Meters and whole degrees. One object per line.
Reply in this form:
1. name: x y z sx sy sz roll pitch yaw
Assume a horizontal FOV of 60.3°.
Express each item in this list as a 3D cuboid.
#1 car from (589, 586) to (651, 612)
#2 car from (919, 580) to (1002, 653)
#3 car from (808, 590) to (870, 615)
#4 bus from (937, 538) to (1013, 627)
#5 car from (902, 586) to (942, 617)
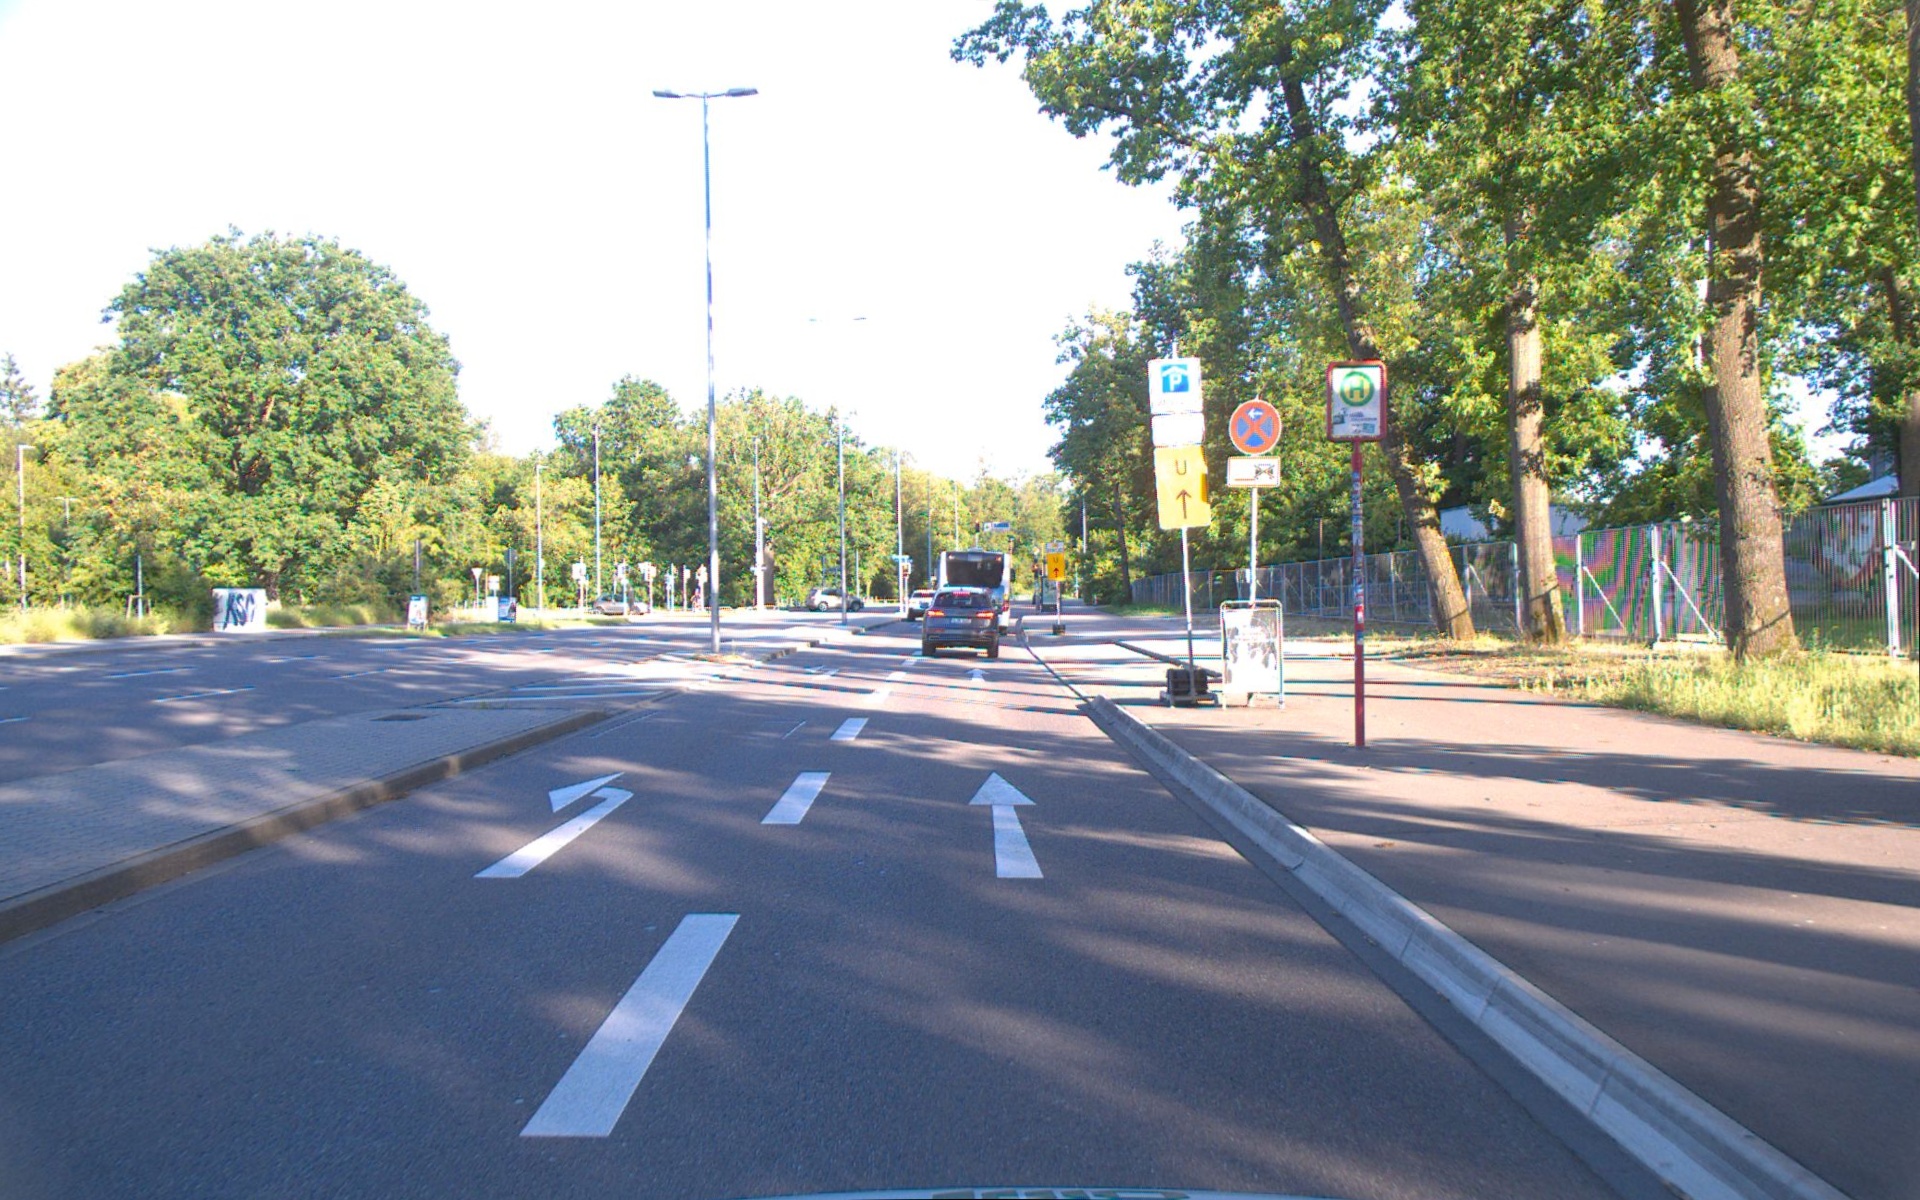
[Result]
1. car: -23.425 -0.044 114.180 3.909 1.668 2.063 -1 0 -5
2. car: 0.061 0.388 40.749 1.859 1.660 4.001 1 0 2
3. car: -8.507 0.167 116.666 4.132 1.612 2.104 -2 0 -1
4. bus: 0.670 -0.548 61.902 2.541 3.041 9.328 1 -1 2
5. car: -1.874 0.075 82.703 1.798 1.545 4.001 0 0 2
